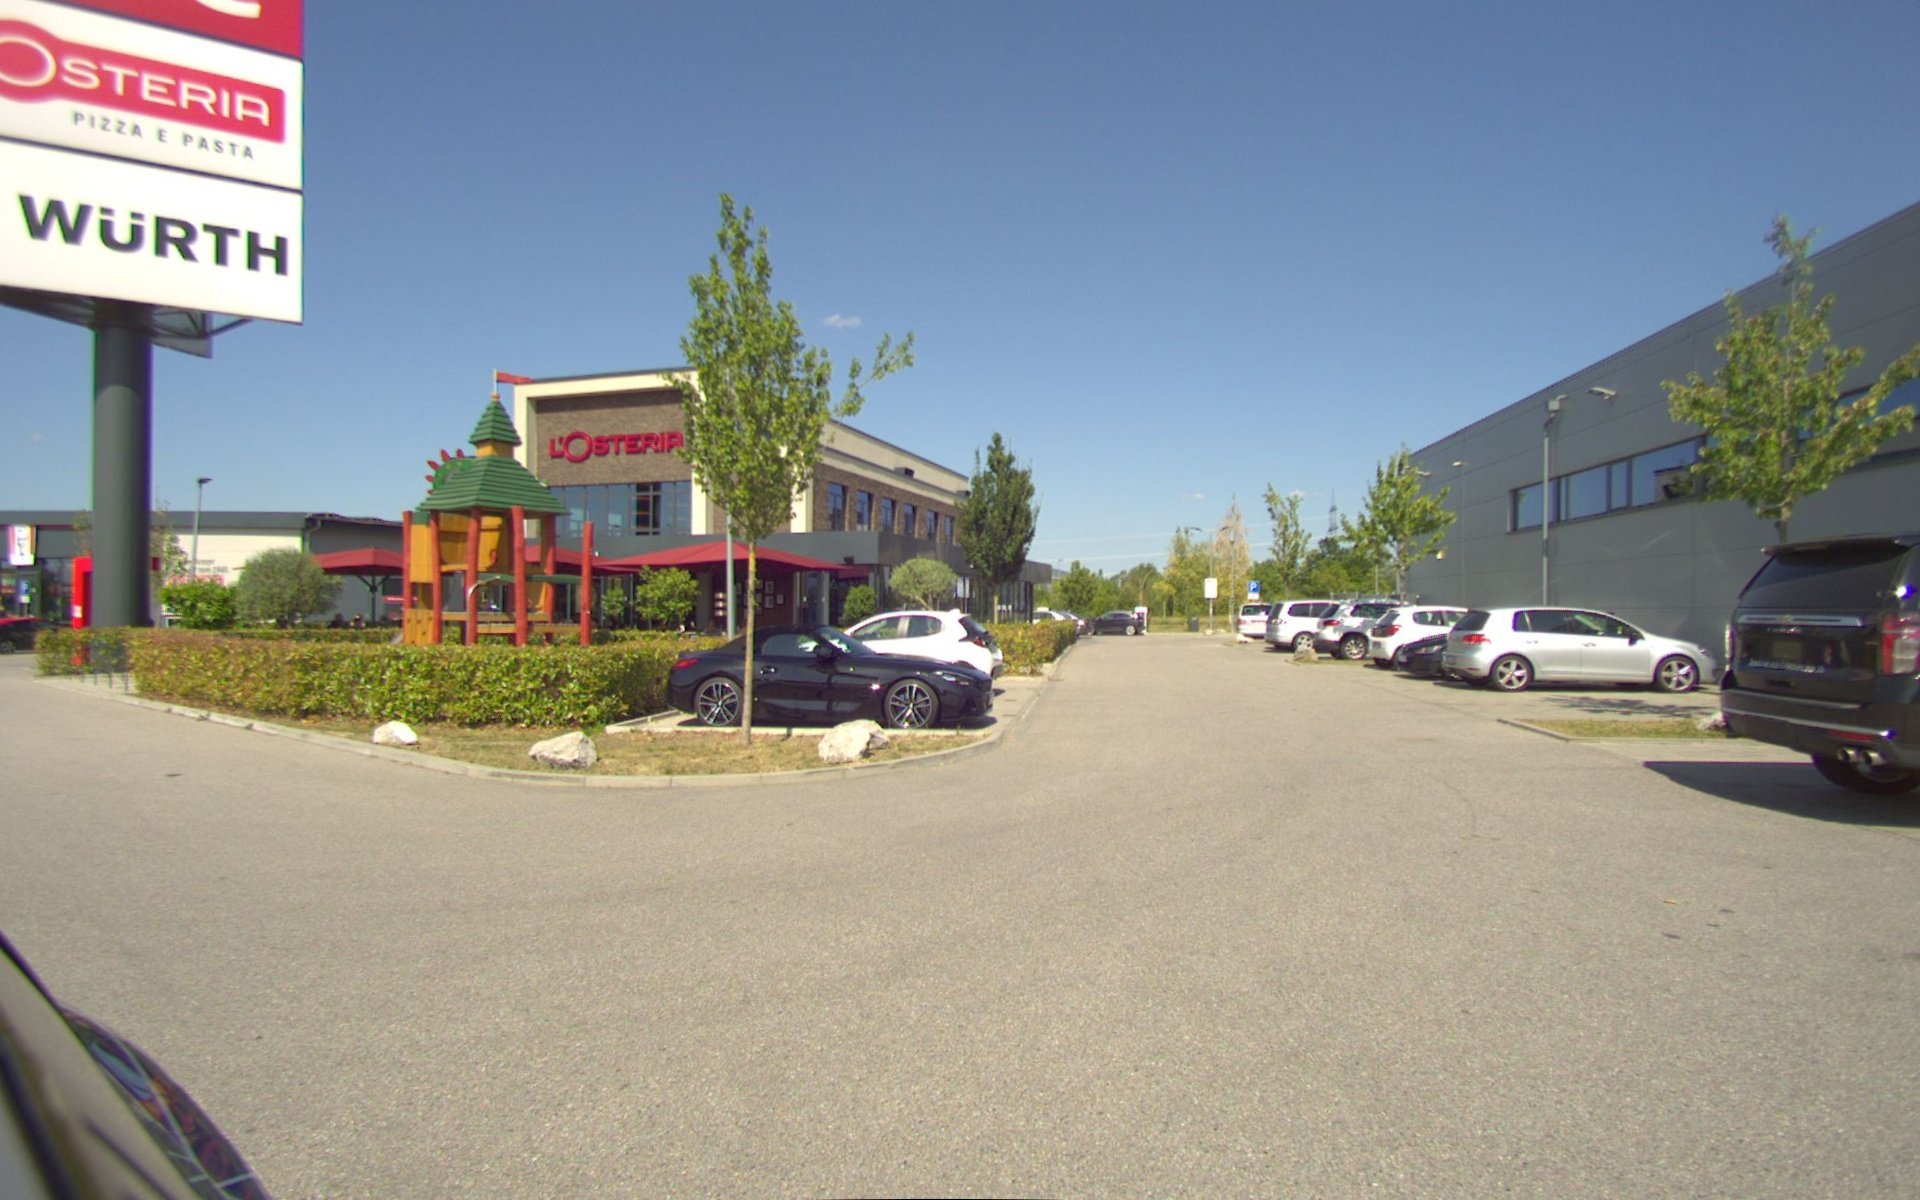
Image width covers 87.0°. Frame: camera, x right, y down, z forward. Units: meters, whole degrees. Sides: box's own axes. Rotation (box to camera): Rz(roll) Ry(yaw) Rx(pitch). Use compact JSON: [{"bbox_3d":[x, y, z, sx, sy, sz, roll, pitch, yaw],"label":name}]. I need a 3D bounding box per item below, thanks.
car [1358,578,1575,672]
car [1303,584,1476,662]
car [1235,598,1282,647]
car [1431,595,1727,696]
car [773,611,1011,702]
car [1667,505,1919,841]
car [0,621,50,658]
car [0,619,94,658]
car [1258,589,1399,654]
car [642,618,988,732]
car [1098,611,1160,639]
[{"bbox_3d":[11.505,0.566,23.255,3.950,2.029,1.997,-1,0,6],"label":"car"},{"bbox_3d":[11.666,0.621,27.781,3.955,2.029,1.994,-1,0,9],"label":"car"},{"bbox_3d":[12.688,0.926,42.914,1.780,1.953,3.977,-1,0,18],"label":"car"},{"bbox_3d":[10.572,0.773,17.589,3.955,1.629,1.776,-1,-1,10],"label":"car"},{"bbox_3d":[-1.150,0.957,17.873,3.874,1.486,1.796,-1,-1,13],"label":"car"},{"bbox_3d":[8.062,0.418,6.537,5.318,1.953,2.026,-1,-1,8],"label":"car"},{"bbox_3d":[-42.059,1.691,43.463,1.864,1.577,4.071,-1,-1,19],"label":"car"},{"bbox_3d":[-39.459,1.618,42.710,1.864,1.577,4.071,-1,-1,19],"label":"car"},{"bbox_3d":[11.778,0.692,32.641,3.957,2.029,1.993,-1,0,11],"label":"car"},{"bbox_3d":[-1.766,0.915,13.061,4.104,1.348,1.827,-1,-1,7],"label":"car"},{"bbox_3d":[11.233,1.656,67.320,3.961,1.799,1.764,-1,0,14],"label":"car"}]
